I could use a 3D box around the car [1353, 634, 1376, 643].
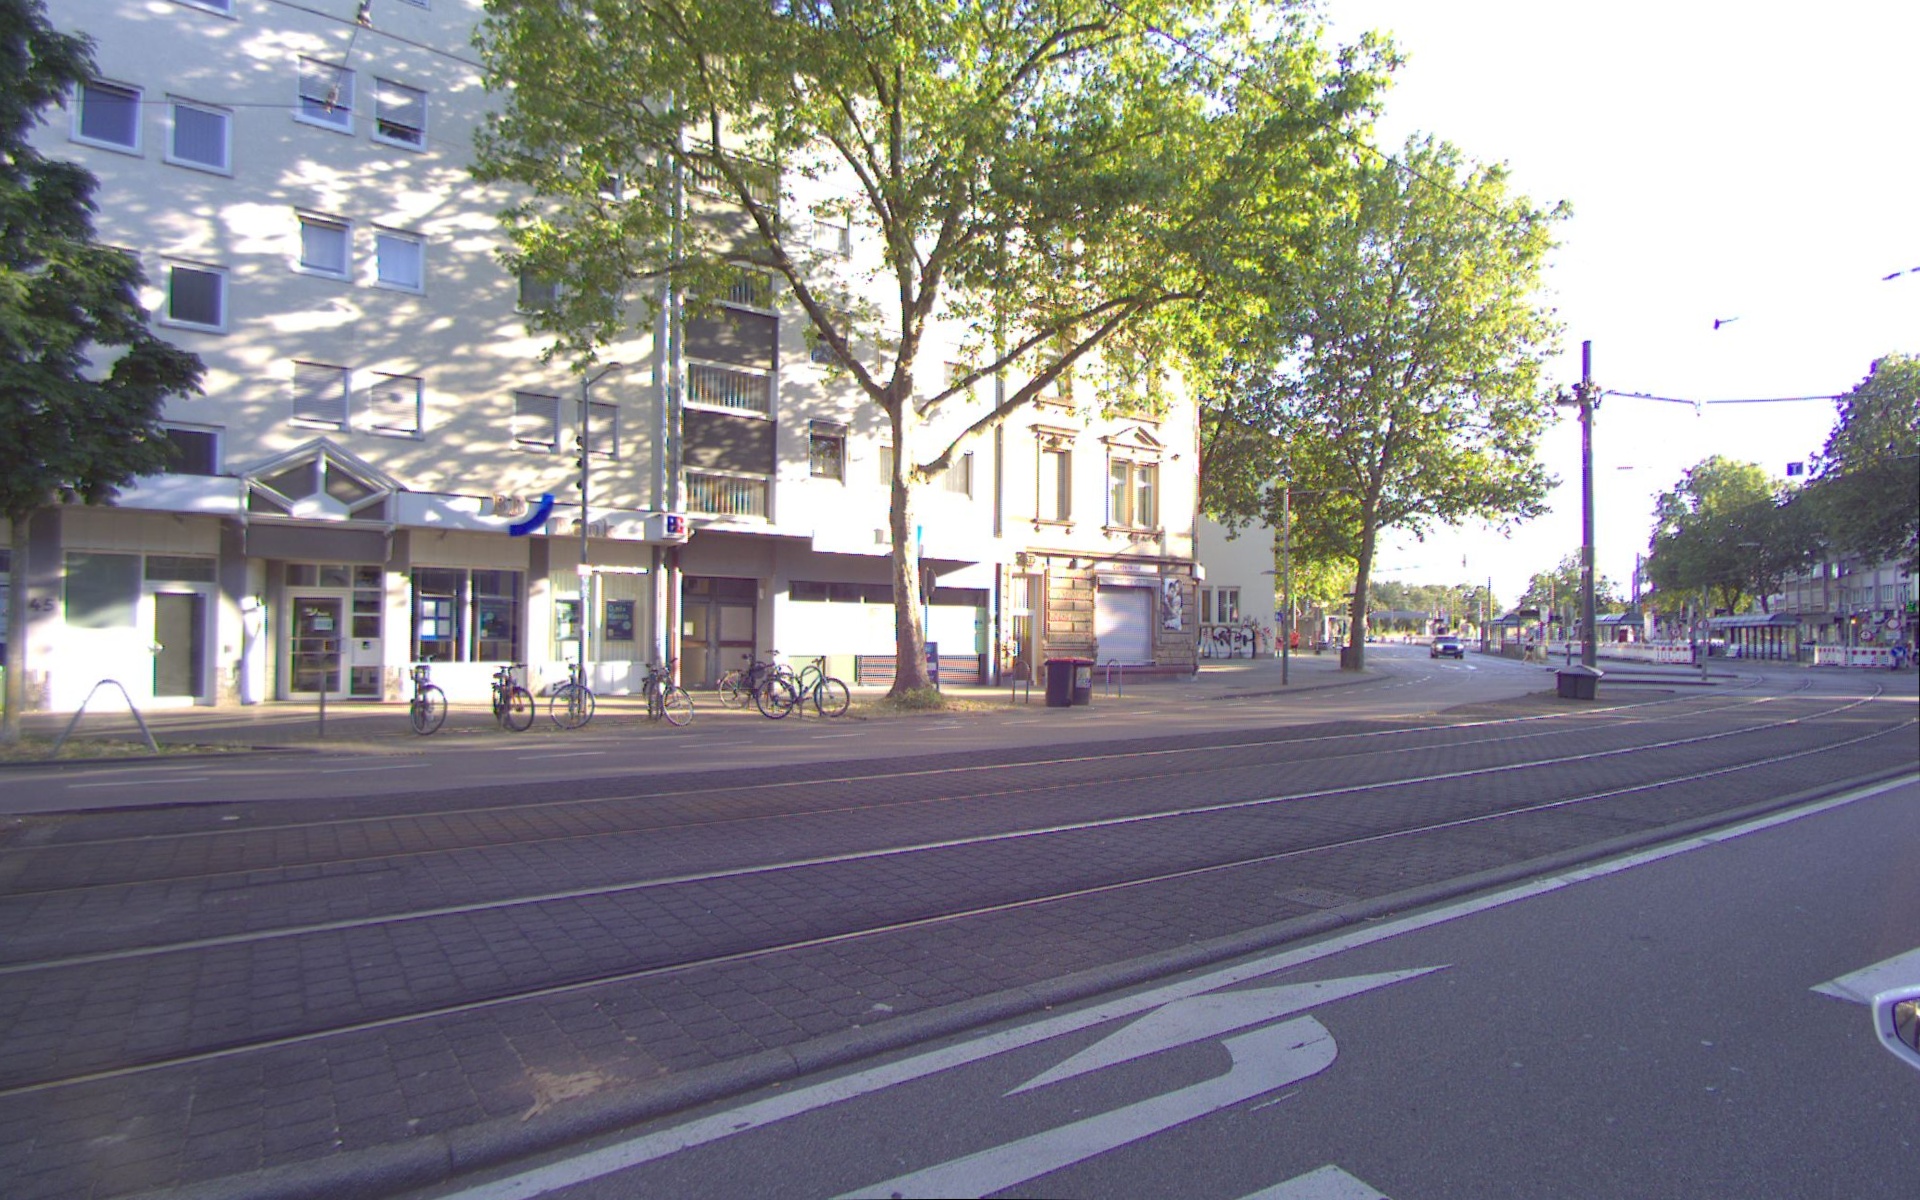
[{"bbox_3d":[78.255,7.371,194.275,3.919,1.661,1.792,0,-2,13],"label":"car"}]

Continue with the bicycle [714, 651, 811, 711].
[{"bbox_3d":[-3.941,1.597,20.085,1.777,1.132,0.617,2,-2,-29],"label":"bicycle"}]

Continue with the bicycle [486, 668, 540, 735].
[{"bbox_3d":[-6.928,1.543,15.537,0.467,0.900,1.729,2,-1,-34],"label":"bicycle"}]

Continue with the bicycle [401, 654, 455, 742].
[{"bbox_3d":[-7.829,1.396,14.749,0.506,1.153,1.729,2,-1,-34],"label":"bicycle"}]

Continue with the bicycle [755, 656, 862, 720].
[{"bbox_3d":[-2.723,1.568,18.110,1.800,1.091,0.649,2,-2,-29],"label":"bicycle"}]

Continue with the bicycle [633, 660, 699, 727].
[{"bbox_3d":[-5.050,1.565,17.187,0.584,1.002,1.729,2,-1,-34],"label":"bicycle"}]

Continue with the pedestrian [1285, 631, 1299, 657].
[{"bbox_3d":[19.513,2.564,59.029,0.599,1.533,0.493,0,-1,-6],"label":"pedestrian"}]

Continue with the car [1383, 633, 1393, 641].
[{"bbox_3d":[89.588,7.739,210.269,1.814,1.706,3.716,0,-2,23],"label":"car"}]

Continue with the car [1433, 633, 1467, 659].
[{"bbox_3d":[32.985,3.100,67.699,1.962,1.661,3.997,0,-2,25],"label":"car"}]

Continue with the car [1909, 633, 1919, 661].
[{"bbox_3d":[64.469,3.135,65.721,1.960,1.815,4.000,2,-1,20],"label":"car"}]

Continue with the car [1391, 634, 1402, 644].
[{"bbox_3d":[78.789,7.028,181.338,1.814,1.706,3.715,-2,-2,23],"label":"car"}]

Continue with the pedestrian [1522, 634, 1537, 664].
[{"bbox_3d":[32.622,2.794,57.541,0.645,1.678,0.444,0,-2,18],"label":"pedestrian"}]

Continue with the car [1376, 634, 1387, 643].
[{"bbox_3d":[79.469,7.192,189.320,1.814,1.706,3.716,0,-2,23],"label":"car"}]

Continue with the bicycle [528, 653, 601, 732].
[{"bbox_3d":[-6.348,1.445,16.077,0.724,1.128,1.729,2,-1,-34],"label":"bicycle"}]
